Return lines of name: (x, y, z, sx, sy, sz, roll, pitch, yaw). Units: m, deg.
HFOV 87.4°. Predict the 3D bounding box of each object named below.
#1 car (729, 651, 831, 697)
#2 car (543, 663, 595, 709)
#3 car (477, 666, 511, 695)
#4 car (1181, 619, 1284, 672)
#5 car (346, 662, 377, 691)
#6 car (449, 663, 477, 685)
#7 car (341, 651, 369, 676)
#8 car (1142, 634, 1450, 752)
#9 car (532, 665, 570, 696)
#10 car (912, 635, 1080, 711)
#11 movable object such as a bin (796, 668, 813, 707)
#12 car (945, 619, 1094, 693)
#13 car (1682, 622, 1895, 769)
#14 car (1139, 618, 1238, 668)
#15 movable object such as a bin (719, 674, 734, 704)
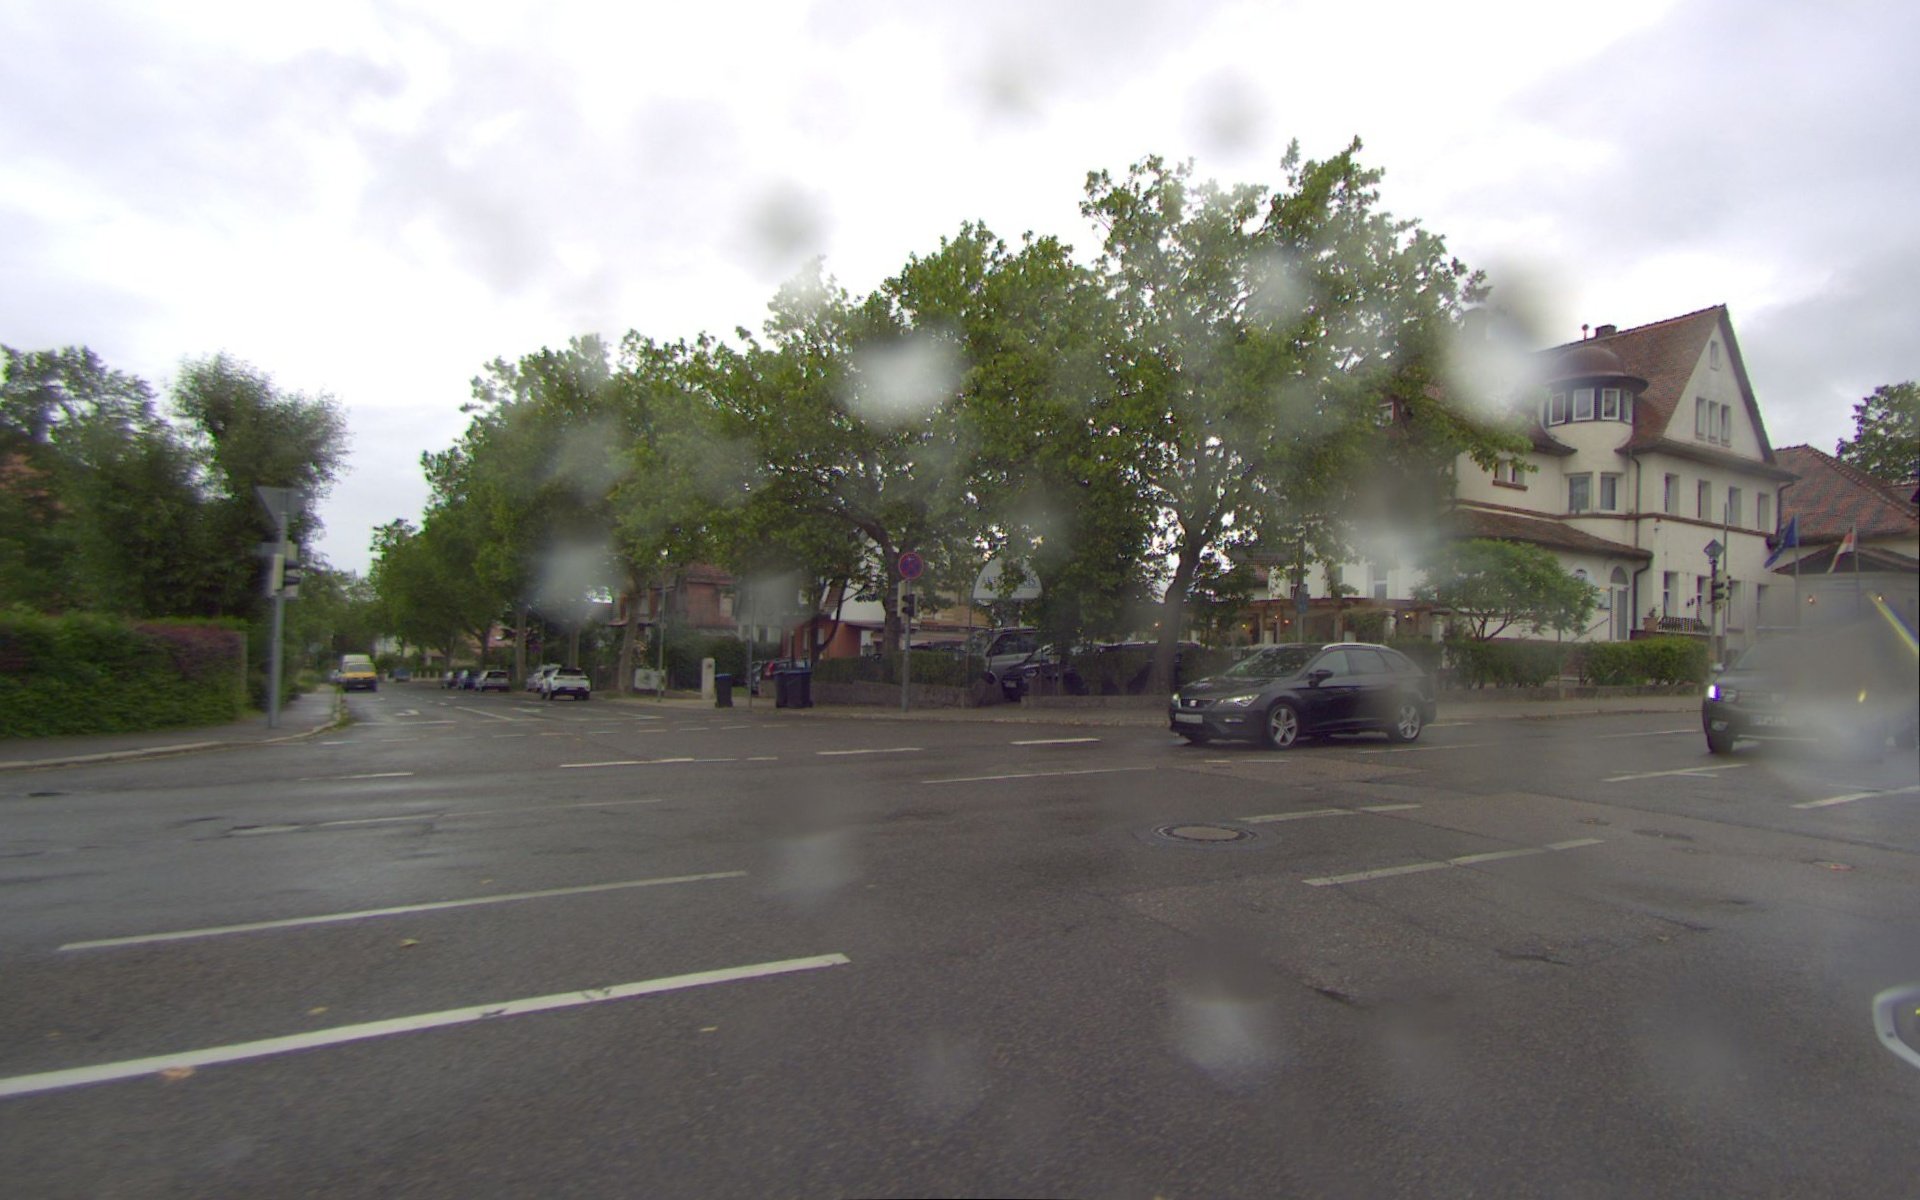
car: (-6.918, 2.831, 38.680, 3.456, 1.574, 1.799, 3, 0, -29)
car: (-18.659, 4.064, 47.816, 1.691, 1.832, 3.654, 3, 0, -31)
car: (-31.755, 5.425, 68.357, 1.691, 1.651, 3.654, 3, 0, -31)
car: (11.457, 1.909, 42.123, 3.957, 2.040, 1.982, 3, 0, -33)
car: (-40.471, 5.123, 67.946, 1.691, 1.651, 3.654, 3, 0, -31)
car: (-39.089, 5.807, 78.982, 1.641, 1.436, 3.654, 3, 0, -31)
car: (-45.717, 4.790, 75.966, 1.691, 1.651, 3.654, 3, 0, -31)
car: (4.911, 1.235, 14.524, 4.366, 1.446, 1.898, 1, -2, -32)
car: (-26.250, 5.118, 64.385, 1.691, 1.651, 3.654, 3, 0, -31)
car: (0.939, 1.796, 25.676, 3.953, 1.573, 1.800, -2, 2, -30)
movable object such as a bin: (-4.432, 2.487, 28.682, 0.404, 1.057, 0.450, 2, 0, -13)
car: (1.740, 1.552, 28.906, 3.953, 1.786, 1.800, -2, 2, -30)
car: (11.062, 1.114, 13.288, 1.878, 1.598, 4.476, -1, -2, 43)
car: (10.061, 1.897, 44.197, 3.957, 2.040, 1.982, 3, 0, -33)
movable object such as a bin: (-7.571, 2.872, 32.562, 0.446, 0.918, 0.450, 2, 0, -13)
